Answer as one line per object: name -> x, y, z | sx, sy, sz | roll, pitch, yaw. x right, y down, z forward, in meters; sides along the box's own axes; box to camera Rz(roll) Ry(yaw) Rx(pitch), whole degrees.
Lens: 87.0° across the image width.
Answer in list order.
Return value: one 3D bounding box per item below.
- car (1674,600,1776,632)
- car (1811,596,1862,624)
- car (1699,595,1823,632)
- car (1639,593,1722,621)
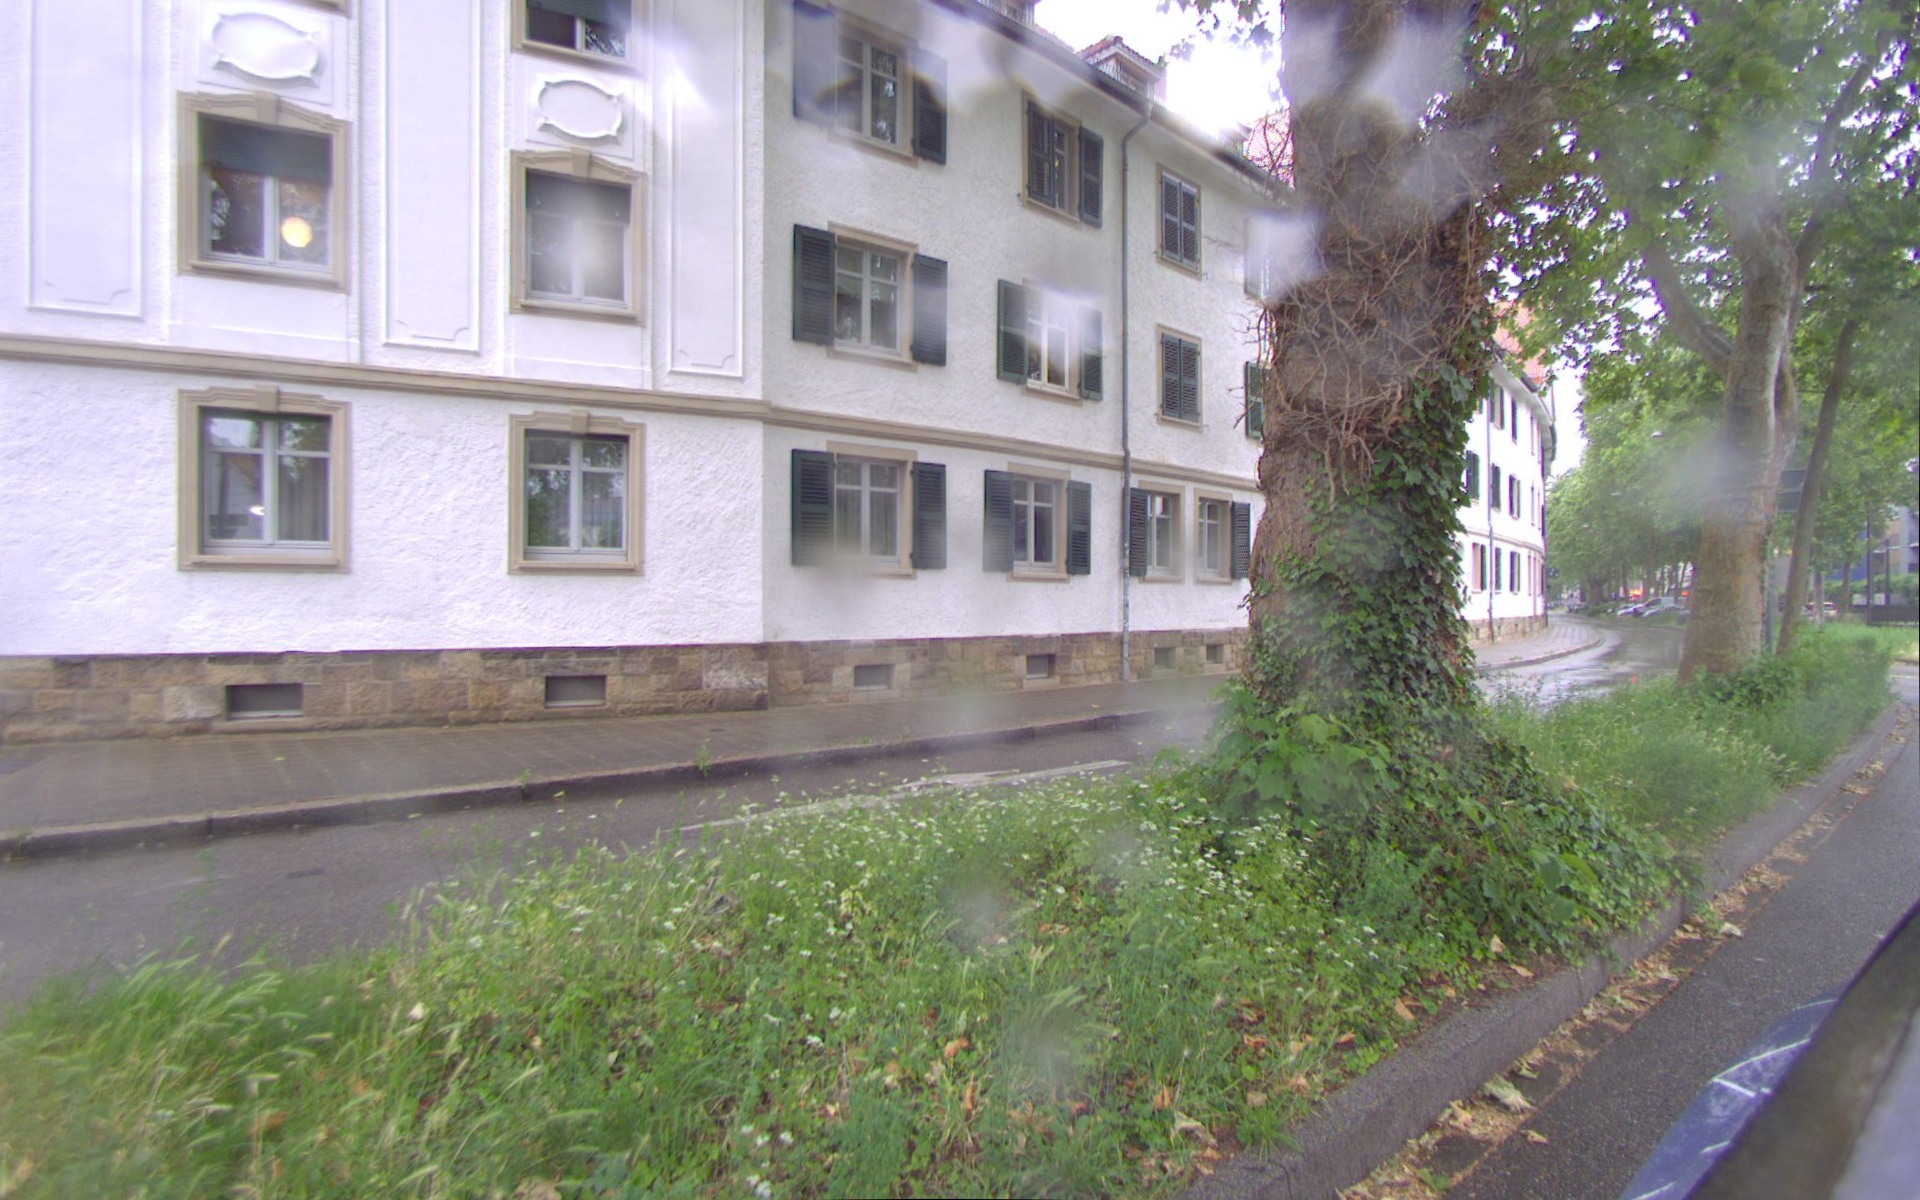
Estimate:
car -> 43.595, 0.871, 57.767 | 1.715, 1.632, 4.335 | 1, 1, -35
car -> 57.751, 0.635, 66.728 | 1.677, 1.745, 3.656 | 2, 1, 28
car -> 38.279, 0.623, 48.465 | 1.892, 1.560, 4.236 | 0, 1, -30
car -> 56.581, 0.537, 79.564 | 1.960, 2.039, 4.899 | 1, 1, -30
